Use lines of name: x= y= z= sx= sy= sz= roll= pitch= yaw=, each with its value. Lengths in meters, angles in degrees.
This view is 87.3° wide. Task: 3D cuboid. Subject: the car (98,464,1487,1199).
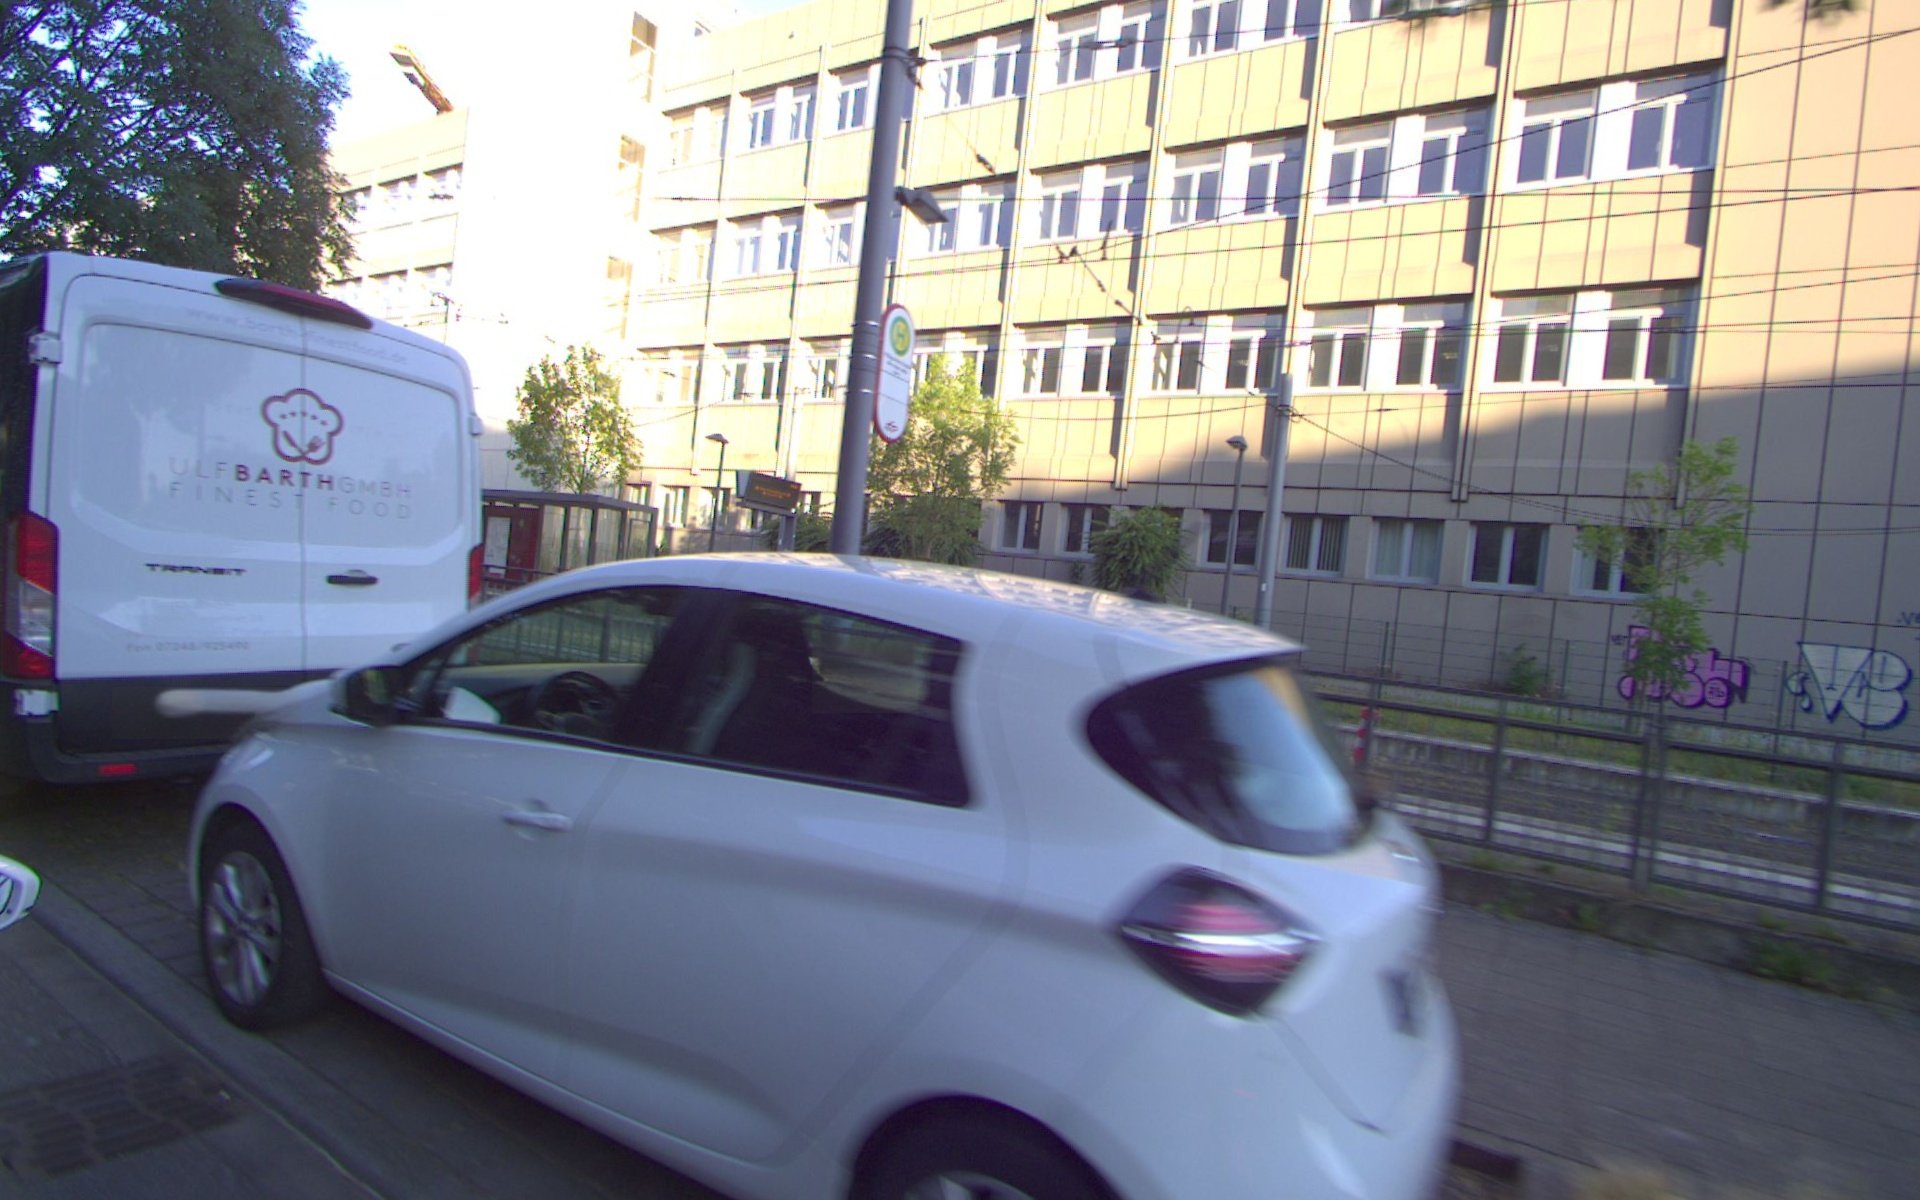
car: x=-0.701 y=0.563 z=3.116 sx=3.945 sy=1.605 sz=1.748 roll=7 pitch=3 yaw=30

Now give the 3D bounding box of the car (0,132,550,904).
car: x=-5.027 y=-0.503 z=5.767 sx=5.343 sy=2.694 sz=2.051 roll=7 pitch=3 yaw=31

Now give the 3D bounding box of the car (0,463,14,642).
car: x=-11.114 y=-0.669 z=9.786 sx=4.196 sy=1.665 sz=1.708 roll=7 pitch=2 yaw=32

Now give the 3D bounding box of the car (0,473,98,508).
car: x=-54.004 y=-6.494 z=59.672 sx=1.648 sy=1.506 sz=3.987 roll=7 pitch=2 yaw=33
